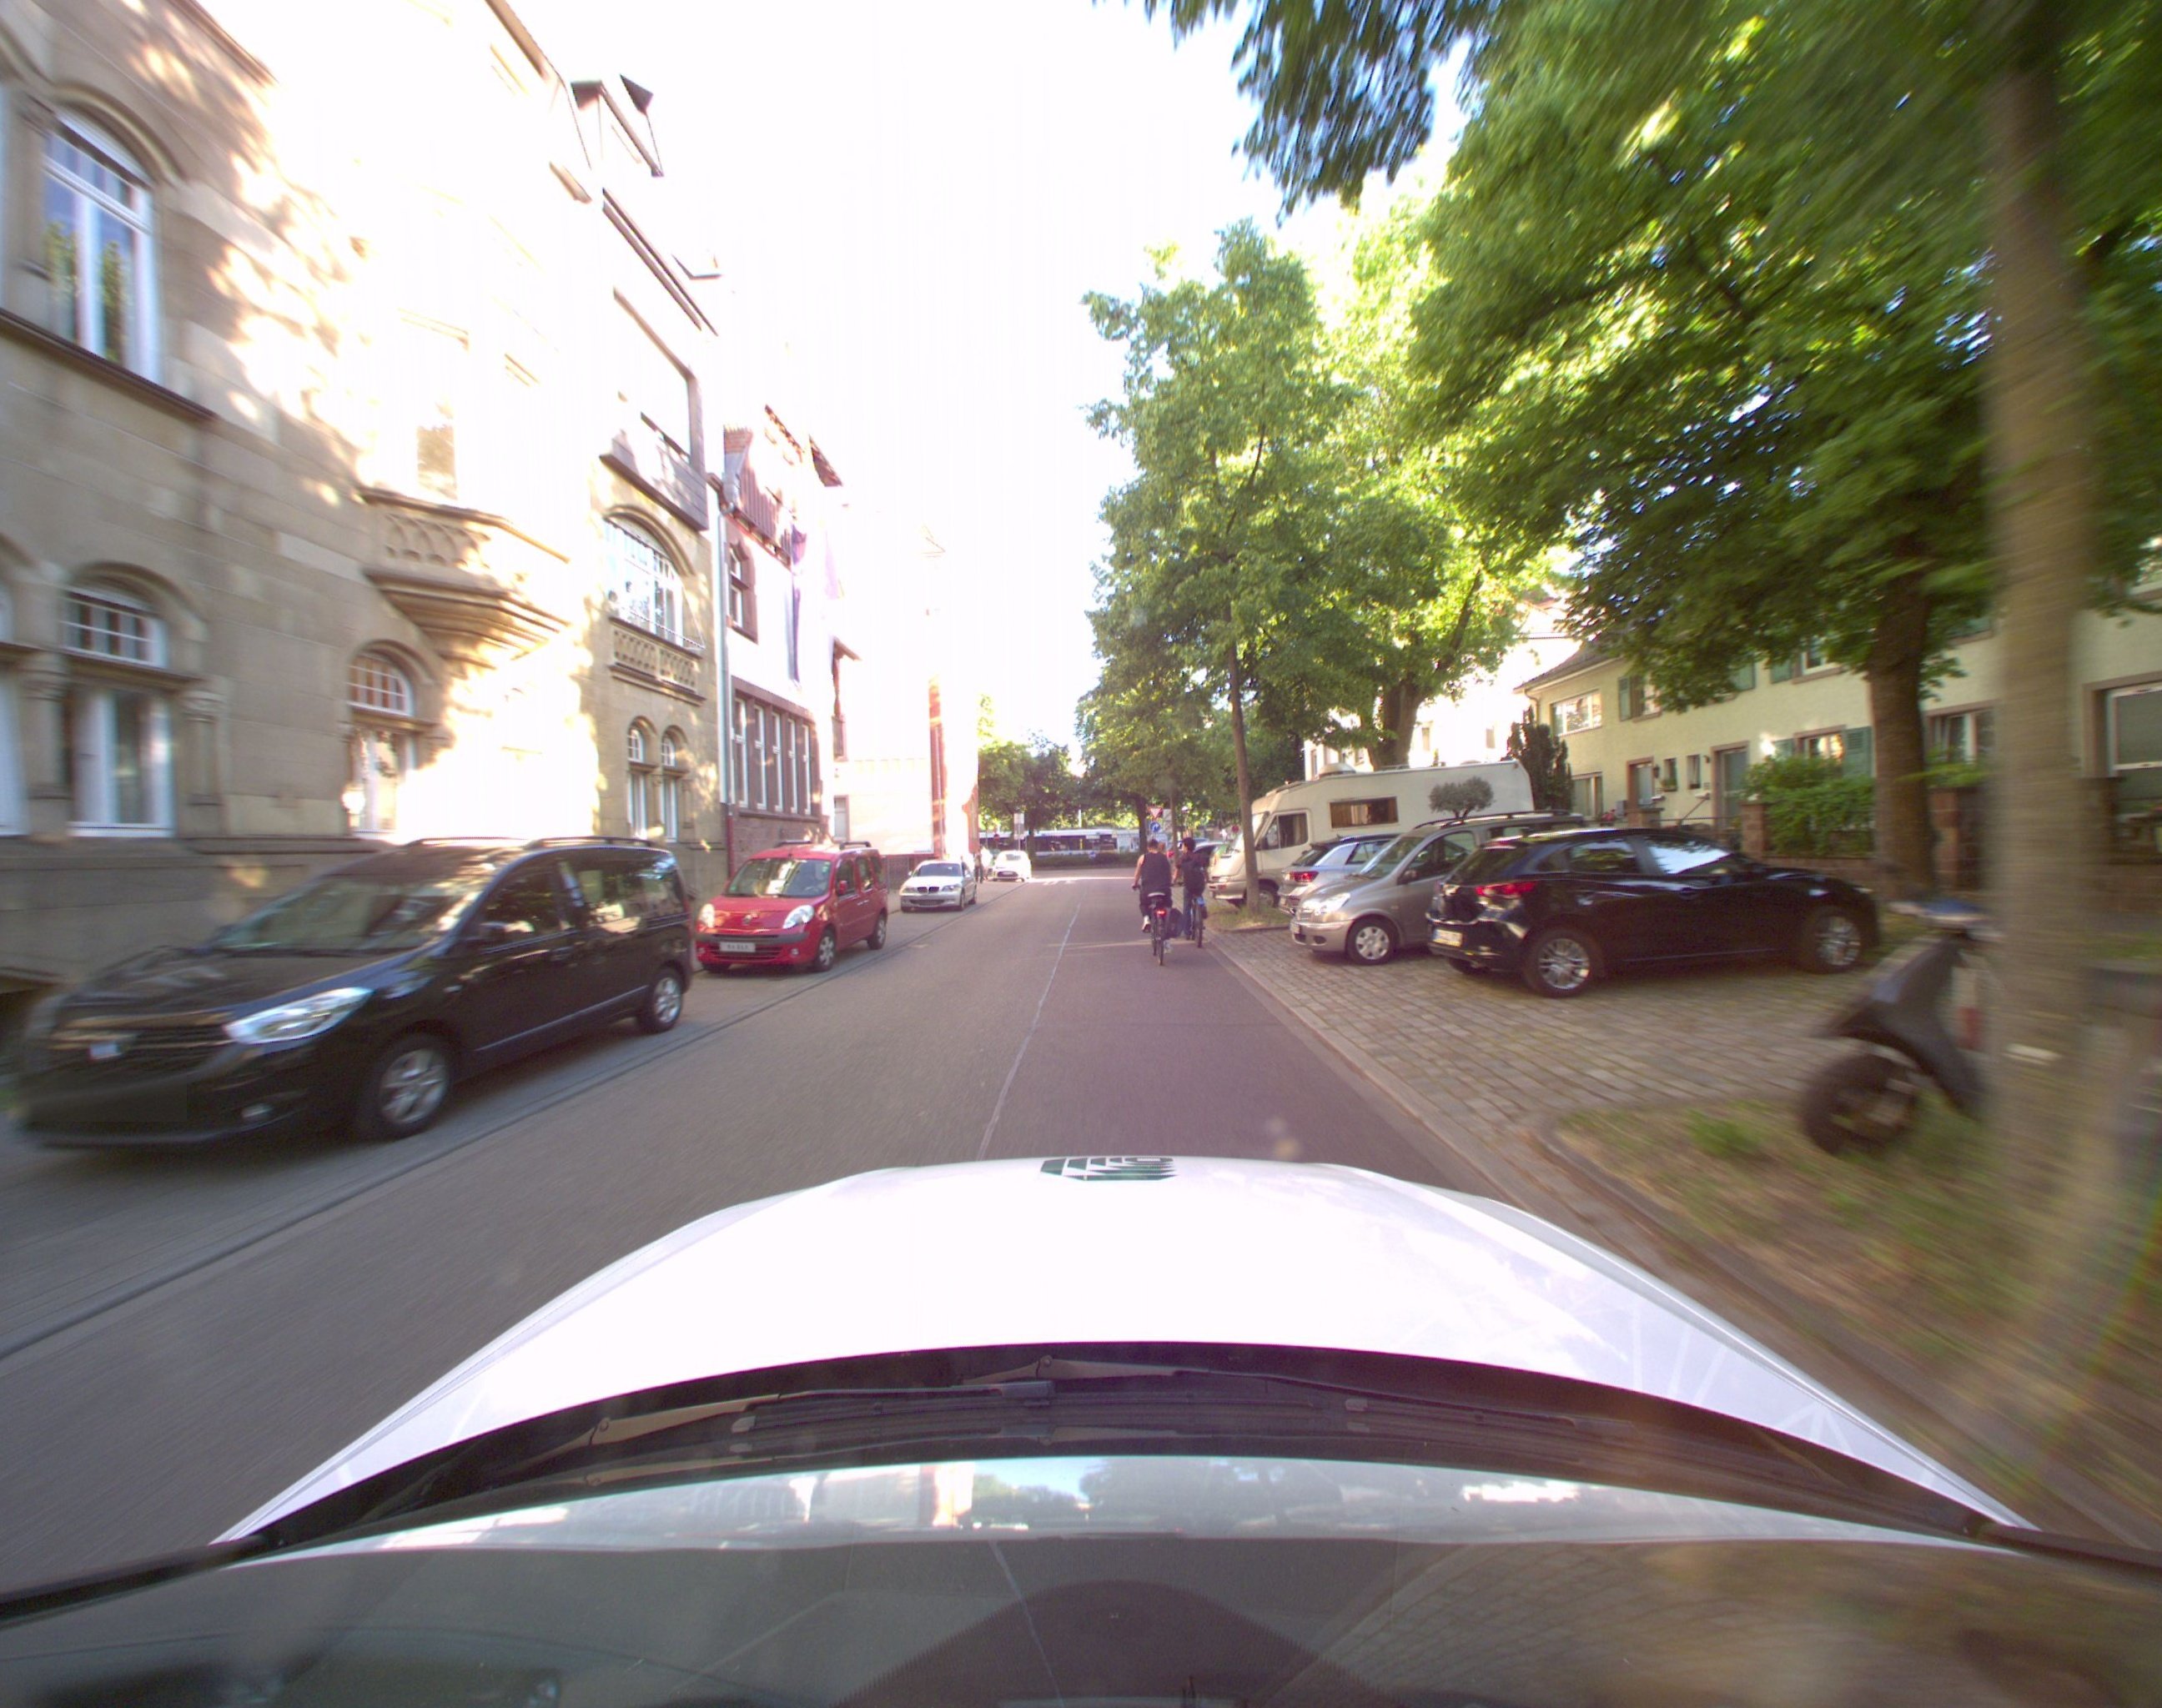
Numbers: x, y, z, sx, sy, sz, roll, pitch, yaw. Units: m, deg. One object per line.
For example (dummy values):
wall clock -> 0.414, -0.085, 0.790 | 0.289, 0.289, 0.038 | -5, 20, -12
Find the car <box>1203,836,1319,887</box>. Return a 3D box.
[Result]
car -> 6.166, 0.239, 28.165 | 3.577, 1.505, 1.678 | -3, 1, 0

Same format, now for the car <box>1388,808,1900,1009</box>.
car -> 5.363, 0.469, 8.105 | 3.868, 1.472, 1.785 | -4, 0, -4

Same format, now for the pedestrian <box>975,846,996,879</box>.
pedestrian -> -4.797, 0.414, 40.851 | 0.864, 1.643, 0.861 | -2, 0, 1

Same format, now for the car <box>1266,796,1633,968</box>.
car -> 4.606, 0.342, 10.626 | 3.900, 1.744, 1.730 | -5, 0, 1

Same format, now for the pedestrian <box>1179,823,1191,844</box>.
pedestrian -> 8.970, -1.769, 70.468 | 0.909, 1.684, 0.782 | -2, 0, 11

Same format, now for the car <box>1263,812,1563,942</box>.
car -> 5.108, 0.352, 13.019 | 3.945, 1.598, 1.905 | -5, -1, 4

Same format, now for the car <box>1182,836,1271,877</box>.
car -> 6.380, 0.109, 36.023 | 3.675, 1.651, 1.706 | -2, 0, 5

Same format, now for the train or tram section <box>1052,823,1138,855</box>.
train or tram section -> 1.475, -1.524, 83.850 | 8.448, 3.201, 2.842 | 0, 0, -21

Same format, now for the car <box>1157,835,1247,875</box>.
car -> 5.989, 0.009, 40.691 | 4.097, 1.712, 2.022 | -4, 1, -3

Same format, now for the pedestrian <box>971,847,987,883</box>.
pedestrian -> -4.747, 0.511, 38.028 | 0.600, 1.605, 0.851 | -2, 0, -12

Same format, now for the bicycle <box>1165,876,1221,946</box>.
bicycle -> 1.883, 0.930, 13.942 | 0.671, 1.054, 2.061 | -2, -1, 1

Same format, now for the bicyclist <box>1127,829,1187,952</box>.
bicyclist -> 1.083, 0.500, 11.775 | 0.749, 1.682, 0.913 | -2, 0, 1

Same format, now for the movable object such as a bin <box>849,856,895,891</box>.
movable object such as a bin -> -8.019, 0.736, 31.285 | 1.367, 1.299, 0.971 | -2, 0, 11

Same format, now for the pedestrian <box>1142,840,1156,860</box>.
pedestrian -> 6.617, -0.378, 79.484 | 1.020, 1.897, 0.906 | -2, 0, -20

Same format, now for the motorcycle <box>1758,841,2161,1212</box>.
motorcycle -> 3.723, 0.567, 3.015 | 0.742, 1.197, 1.755 | -3, 0, -42

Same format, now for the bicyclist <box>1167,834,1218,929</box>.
bicyclist -> 1.868, 0.456, 13.793 | 0.669, 1.514, 1.069 | -2, -1, 0

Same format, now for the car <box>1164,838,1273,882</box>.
car -> 5.569, 0.237, 33.388 | 4.089, 1.411, 1.793 | -5, 0, 1

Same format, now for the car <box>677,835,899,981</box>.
car -> -4.351, 0.696, 12.894 | 1.791, 1.906, 4.326 | -1, 0, 2

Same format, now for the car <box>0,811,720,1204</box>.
car -> -4.708, 0.715, 6.156 | 1.763, 1.852, 4.544 | -1, 1, 2

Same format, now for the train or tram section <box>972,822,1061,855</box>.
train or tram section -> -6.391, -1.497, 80.768 | 8.448, 3.177, 2.842 | 0, 0, -21

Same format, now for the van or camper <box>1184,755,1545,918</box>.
van or camper -> 6.019, -0.380, 18.019 | 7.056, 3.077, 2.464 | -2, 0, -1

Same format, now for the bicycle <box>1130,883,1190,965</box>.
bicycle -> 1.099, 0.961, 11.747 | 0.735, 1.012, 2.062 | 0, 0, 2

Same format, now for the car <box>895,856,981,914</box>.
car -> -4.066, 0.824, 23.764 | 1.738, 1.466, 4.102 | -2, 0, 0

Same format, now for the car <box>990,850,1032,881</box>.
car -> -3.499, 0.558, 41.372 | 1.698, 1.485, 3.799 | 0, 0, 2
